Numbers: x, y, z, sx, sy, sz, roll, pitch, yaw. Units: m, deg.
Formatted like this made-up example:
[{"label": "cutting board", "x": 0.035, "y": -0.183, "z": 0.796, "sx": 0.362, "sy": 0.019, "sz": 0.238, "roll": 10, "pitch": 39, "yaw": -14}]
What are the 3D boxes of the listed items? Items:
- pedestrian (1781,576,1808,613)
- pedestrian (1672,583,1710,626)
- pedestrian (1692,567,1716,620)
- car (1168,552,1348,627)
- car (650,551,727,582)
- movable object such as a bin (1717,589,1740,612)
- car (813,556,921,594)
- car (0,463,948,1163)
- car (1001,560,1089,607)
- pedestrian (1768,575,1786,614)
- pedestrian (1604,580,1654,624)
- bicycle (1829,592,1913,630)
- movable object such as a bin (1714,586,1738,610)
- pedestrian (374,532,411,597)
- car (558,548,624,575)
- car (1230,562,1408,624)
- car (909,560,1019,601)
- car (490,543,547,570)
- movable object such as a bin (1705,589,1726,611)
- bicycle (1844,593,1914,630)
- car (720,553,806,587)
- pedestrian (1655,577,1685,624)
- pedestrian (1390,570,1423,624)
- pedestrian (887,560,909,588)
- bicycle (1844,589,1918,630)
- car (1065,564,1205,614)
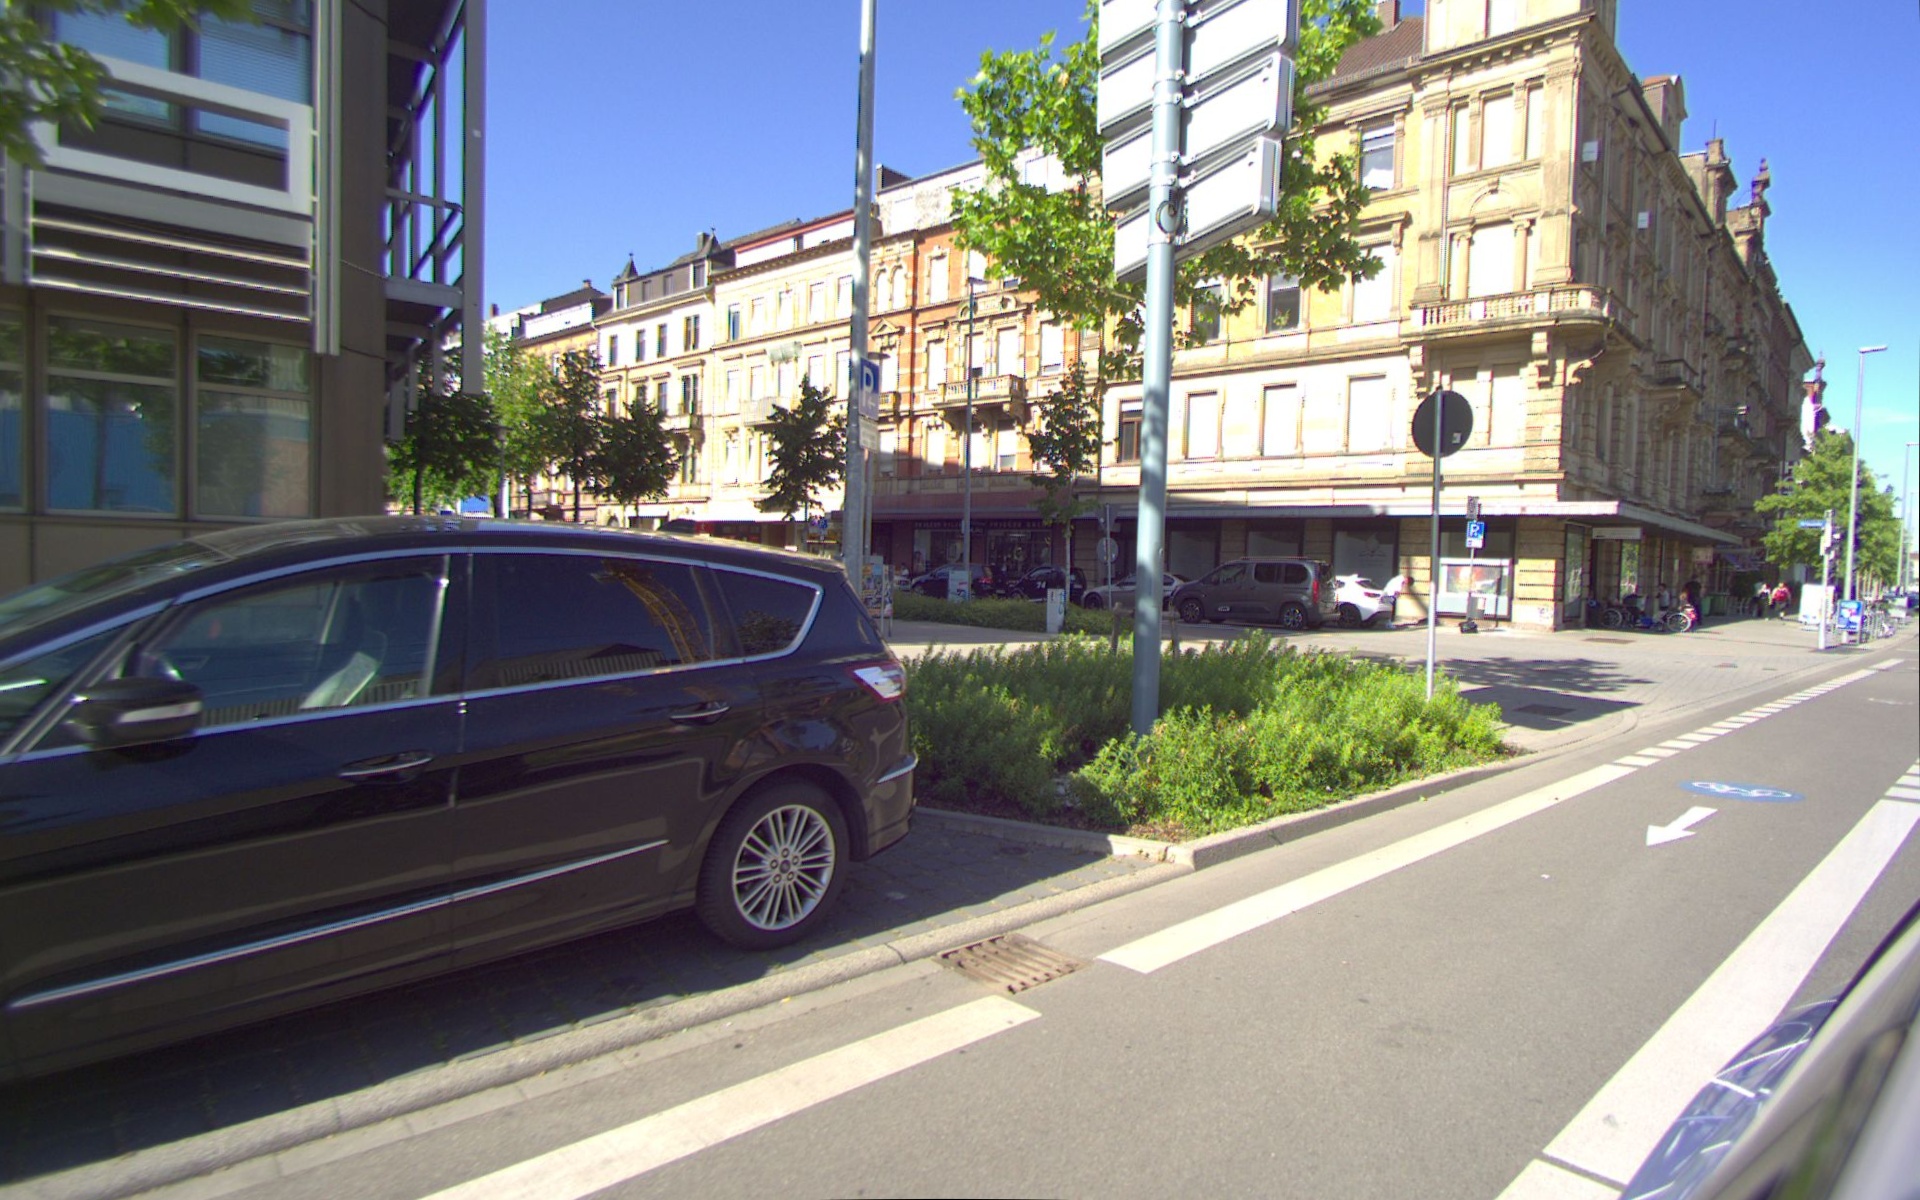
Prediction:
[{"label": "pedestrian", "x": 37.448, "y": -0.253, "z": 45.432, "sx": 0.795, "sy": 1.603, "sz": 0.752, "roll": 0, "pitch": 4, "yaw": -44}, {"label": "pedestrian", "x": 21.957, "y": 0.132, "z": 30.395, "sx": 0.635, "sy": 1.232, "sz": 0.719, "roll": 0, "pitch": 4, "yaw": -38}, {"label": "pedestrian", "x": 26.058, "y": -0.226, "z": 35.459, "sx": 0.491, "sy": 1.823, "sz": 0.512, "roll": 1, "pitch": 1, "yaw": -36}, {"label": "car", "x": 7.766, "y": -0.328, "z": 26.539, "sx": 4.147, "sy": 1.774, "sz": 1.792, "roll": 3, "pitch": 2, "yaw": 39}, {"label": "car", "x": -13.183, "y": -1.638, "z": 49.105, "sx": 3.804, "sy": 1.371, "sz": 1.689, "roll": 3, "pitch": 2, "yaw": 38}, {"label": "movable object such as a bin", "x": 35.017, "y": 0.022, "z": 46.123, "sx": 0.576, "sy": 0.986, "sz": 0.692, "roll": -1, "pitch": 2, "yaw": -39}, {"label": "car", "x": -3.752, "y": -1.022, "z": 40.526, "sx": 4.418, "sy": 1.371, "sz": 1.628, "roll": 3, "pitch": 2, "yaw": 38}, {"label": "car", "x": -2.271, "y": 0.473, "z": 3.617, "sx": 4.393, "sy": 1.679, "sz": 1.750, "roll": 0, "pitch": 2, "yaw": -42}, {"label": "car", "x": 2.908, "y": -0.587, "z": 34.805, "sx": 2.777, "sy": 1.513, "sz": 1.287, "roll": 3, "pitch": 2, "yaw": 38}, {"label": "pedestrian", "x": 38.997, "y": -0.262, "z": 48.308, "sx": 0.491, "sy": 1.872, "sz": 0.512, "roll": 1, "pitch": 1, "yaw": -36}, {"label": "pedestrian", "x": 20.212, "y": 0.049, "z": 30.580, "sx": 0.691, "sy": 1.232, "sz": 1.073, "roll": -1, "pitch": 5, "yaw": -44}, {"label": "bicycle", "x": 31.094, "y": 0.353, "z": 34.572, "sx": 0.593, "sy": 1.133, "sz": 2.052, "roll": -1, "pitch": 5, "yaw": -44}, {"label": "movable object such as a bin", "x": 34.573, "y": -0.095, "z": 45.699, "sx": 0.576, "sy": 1.025, "sz": 0.692, "roll": -1, "pitch": 4, "yaw": -39}, {"label": "pedestrian", "x": -16.192, "y": -1.015, "z": 28.865, "sx": 0.762, "sy": 1.805, "sz": 0.640, "roll": 0, "pitch": 2, "yaw": -43}, {"label": "car", "x": -20.215, "y": -2.126, "z": 55.397, "sx": 3.804, "sy": 1.371, "sz": 1.689, "roll": 3, "pitch": 2, "yaw": 38}, {"label": "car", "x": 10.107, "y": -0.246, "z": 28.663, "sx": 4.387, "sy": 1.563, "sz": 1.828, "roll": 3, "pitch": 2, "yaw": 39}, {"label": "car", "x": 0.121, "y": -0.743, "z": 36.986, "sx": 3.804, "sy": 1.371, "sz": 1.628, "roll": 3, "pitch": 2, "yaw": 38}, {"label": "car", "x": -26.649, "y": -2.636, "z": 61.022, "sx": 3.804, "sy": 1.574, "sz": 1.515, "roll": 3, "pitch": 2, "yaw": 38}, {"label": "movable object such as a bin", "x": 32.725, "y": 0.004, "z": 43.848, "sx": 0.467, "sy": 0.876, "sz": 0.606, "roll": -1, "pitch": 4, "yaw": -39}, {"label": "bicycle", "x": 32.074, "y": 0.404, "z": 35.349, "sx": 1.660, "sy": 1.123, "sz": 0.595, "roll": 6, "pitch": 5, "yaw": 38}, {"label": "car", "x": -8.845, "y": -1.351, "z": 45.304, "sx": 3.804, "sy": 1.371, "sz": 1.689, "roll": 3, "pitch": 2, "yaw": 38}, {"label": "pedestrian", "x": 22.052, "y": -0.007, "z": 31.425, "sx": 0.573, "sy": 1.411, "sz": 0.638, "roll": 6, "pitch": 4, "yaw": 44}, {"label": "pedestrian", "x": 12.432, "y": -0.093, "z": 28.157, "sx": 0.680, "sy": 1.468, "sz": 0.535, "roll": 3, "pitch": 2, "yaw": 41}, {"label": "pedestrian", "x": -2.685, "y": -1.136, "z": 43.666, "sx": 0.645, "sy": 1.184, "sz": 0.670, "roll": 2, "pitch": 2, "yaw": 42}, {"label": "bicycle", "x": 33.194, "y": 0.322, "z": 36.481, "sx": 0.681, "sy": 1.266, "sz": 1.867, "roll": -1, "pitch": 5, "yaw": -44}, {"label": "car", "x": 5.555, "y": -0.366, "z": 32.352, "sx": 4.171, "sy": 1.412, "sz": 1.536, "roll": 3, "pitch": 1, "yaw": 38}]
